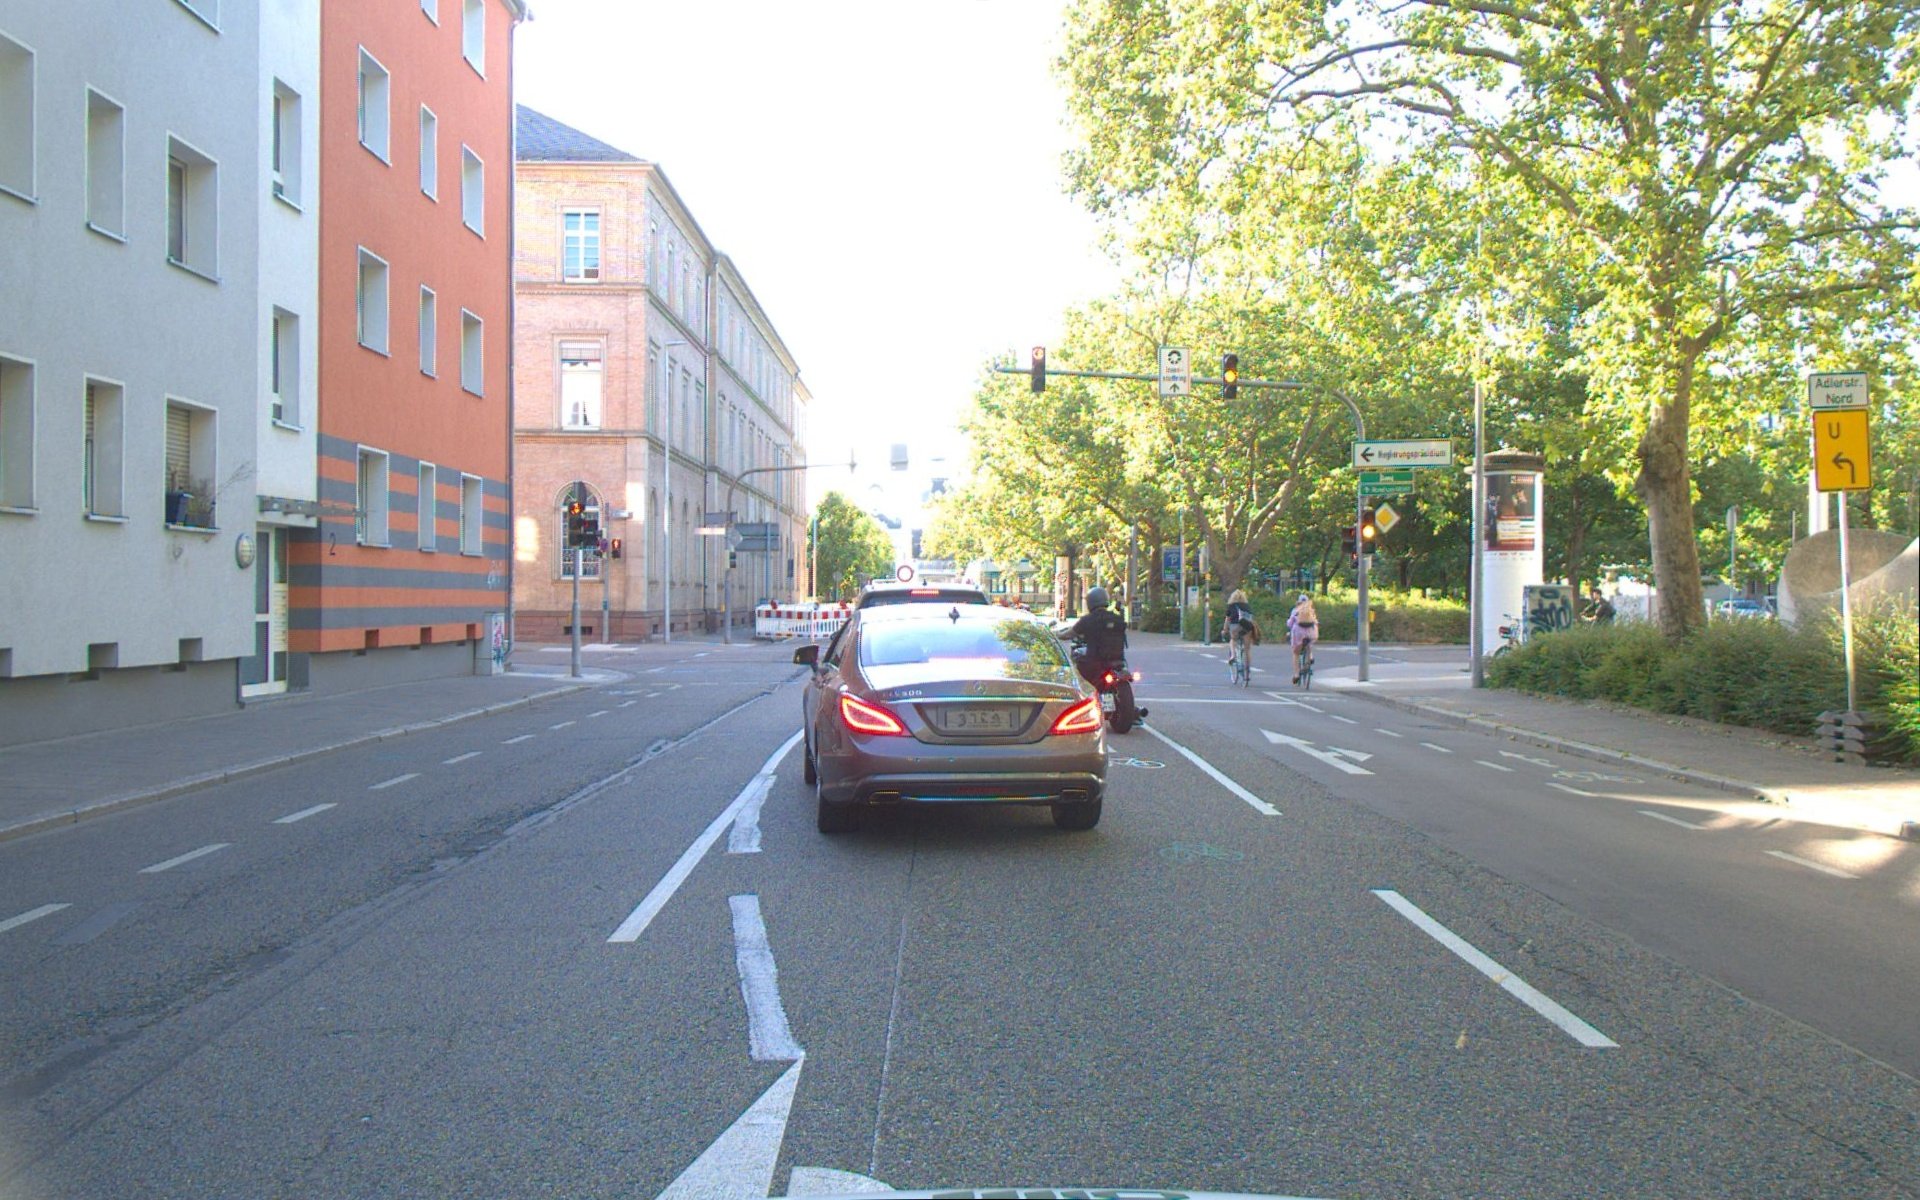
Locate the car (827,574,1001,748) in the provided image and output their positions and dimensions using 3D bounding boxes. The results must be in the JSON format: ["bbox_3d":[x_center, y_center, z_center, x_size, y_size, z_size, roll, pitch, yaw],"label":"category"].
[{"bbox_3d":[-0.502,0.580,17.634,1.647,1.653,3.839,0,0,-2],"label":"car"}]

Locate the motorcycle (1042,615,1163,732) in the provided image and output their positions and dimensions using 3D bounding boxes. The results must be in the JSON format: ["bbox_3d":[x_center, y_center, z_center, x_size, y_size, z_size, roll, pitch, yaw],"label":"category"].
[{"bbox_3d":[1.596,0.803,19.120,0.987,1.225,2.663,0,0,-4],"label":"motorcycle"}]

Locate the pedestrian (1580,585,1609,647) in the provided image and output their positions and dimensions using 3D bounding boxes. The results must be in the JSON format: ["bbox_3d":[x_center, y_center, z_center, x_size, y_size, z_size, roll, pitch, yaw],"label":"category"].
[{"bbox_3d":[18.616,0.470,48.548,0.607,1.815,0.630,0,0,1],"label":"pedestrian"}]

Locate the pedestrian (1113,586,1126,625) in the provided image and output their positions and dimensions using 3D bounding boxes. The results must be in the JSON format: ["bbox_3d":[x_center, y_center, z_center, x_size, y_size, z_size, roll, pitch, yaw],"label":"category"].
[{"bbox_3d":[7.044,0.226,73.049,0.548,1.707,0.564,0,0,-1],"label":"pedestrian"}]

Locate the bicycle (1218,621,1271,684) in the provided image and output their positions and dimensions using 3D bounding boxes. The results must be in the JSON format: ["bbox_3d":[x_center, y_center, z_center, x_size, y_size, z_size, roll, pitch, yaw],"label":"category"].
[{"bbox_3d":[5.043,0.915,29.396,0.598,1.044,1.731,2,0,-1],"label":"bicycle"}]

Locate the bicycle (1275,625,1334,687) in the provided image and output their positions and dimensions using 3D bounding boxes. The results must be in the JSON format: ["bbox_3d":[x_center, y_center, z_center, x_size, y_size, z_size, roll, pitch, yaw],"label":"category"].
[{"bbox_3d":[6.061,0.973,29.159,0.588,1.002,1.881,2,0,-1],"label":"bicycle"}]

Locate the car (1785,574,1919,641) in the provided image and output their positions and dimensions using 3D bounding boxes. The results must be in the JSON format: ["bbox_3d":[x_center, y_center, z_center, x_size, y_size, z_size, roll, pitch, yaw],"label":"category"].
[{"bbox_3d":[25.602,0.195,46.429,3.912,1.815,2.001,0,0,4],"label":"car"}]

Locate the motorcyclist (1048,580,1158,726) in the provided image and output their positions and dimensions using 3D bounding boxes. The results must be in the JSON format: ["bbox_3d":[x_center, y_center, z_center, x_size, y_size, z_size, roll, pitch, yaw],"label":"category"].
[{"bbox_3d":[1.639,0.596,19.206,1.091,1.641,1.201,0,0,-4],"label":"motorcyclist"}]

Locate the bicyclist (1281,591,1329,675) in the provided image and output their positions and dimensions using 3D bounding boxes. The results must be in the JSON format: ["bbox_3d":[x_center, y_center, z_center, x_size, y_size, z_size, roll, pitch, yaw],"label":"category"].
[{"bbox_3d":[6.072,0.571,29.160,0.588,1.426,0.931,2,0,-1],"label":"bicyclist"}]

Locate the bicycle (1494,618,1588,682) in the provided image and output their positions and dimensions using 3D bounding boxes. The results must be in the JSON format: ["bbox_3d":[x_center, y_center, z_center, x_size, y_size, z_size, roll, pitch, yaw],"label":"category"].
[{"bbox_3d":[9.694,0.833,27.604,1.387,1.055,0.538,0,0,-5],"label":"bicycle"}]

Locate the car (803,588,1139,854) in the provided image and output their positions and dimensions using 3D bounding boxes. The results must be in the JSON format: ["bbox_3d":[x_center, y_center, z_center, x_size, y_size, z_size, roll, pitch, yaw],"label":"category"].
[{"bbox_3d":[-0.126,0.682,11.630,1.787,1.502,4.346,0,0,-7],"label":"car"}]

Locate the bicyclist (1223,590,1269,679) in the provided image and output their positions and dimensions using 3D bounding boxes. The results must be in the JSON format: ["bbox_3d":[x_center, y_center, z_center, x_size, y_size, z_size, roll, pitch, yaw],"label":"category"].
[{"bbox_3d":[5.055,0.600,29.267,0.598,1.542,0.889,2,0,-1],"label":"bicyclist"}]
